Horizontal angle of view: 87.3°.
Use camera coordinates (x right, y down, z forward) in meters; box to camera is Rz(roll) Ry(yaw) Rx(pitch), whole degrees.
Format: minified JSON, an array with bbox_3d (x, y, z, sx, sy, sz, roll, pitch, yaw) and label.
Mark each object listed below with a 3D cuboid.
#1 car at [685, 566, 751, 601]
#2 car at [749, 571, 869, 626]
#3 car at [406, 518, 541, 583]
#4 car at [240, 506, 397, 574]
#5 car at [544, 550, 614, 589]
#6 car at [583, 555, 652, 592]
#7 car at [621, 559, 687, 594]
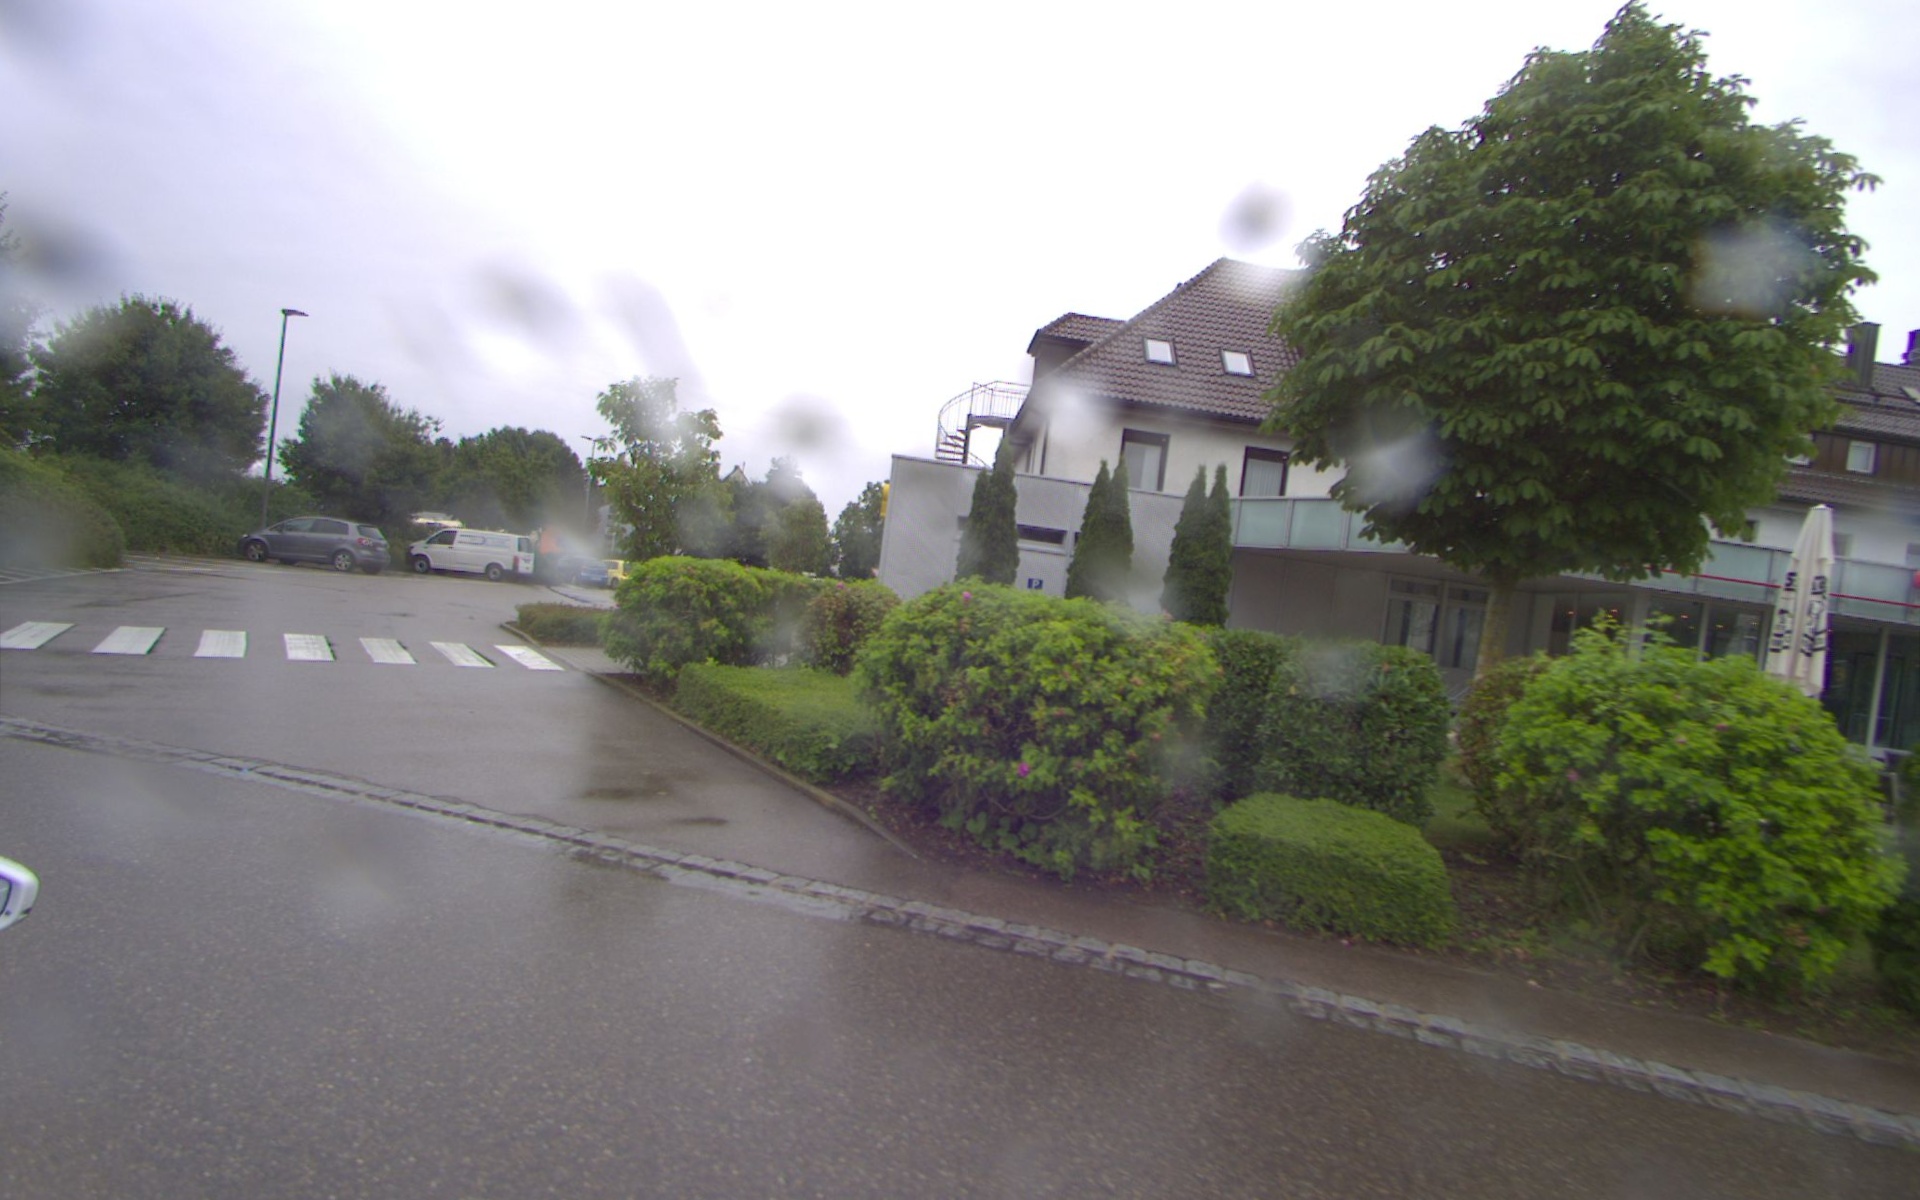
[{"bbox_3d":[-13.059,-0.918,54.148,3.629,1.477,1.577,7,1,41],"label":"car"},{"bbox_3d":[-5.530,-0.055,37.239,4.113,1.517,1.716,6,1,-4],"label":"car"},{"bbox_3d":[-19.593,-1.967,40.633,4.453,2.059,1.643,7,1,-3],"label":"car"},{"bbox_3d":[-19.487,-1.813,30.662,3.676,1.571,1.449,7,1,-3],"label":"car"},{"bbox_3d":[-18.291,-1.468,48.224,3.629,1.477,1.548,7,1,41],"label":"car"},{"bbox_3d":[-17.305,-1.366,50.766,3.629,1.477,1.577,7,1,41],"label":"car"},{"bbox_3d":[-16.054,-1.235,52.709,3.629,1.477,1.577,7,1,41],"label":"car"}]
